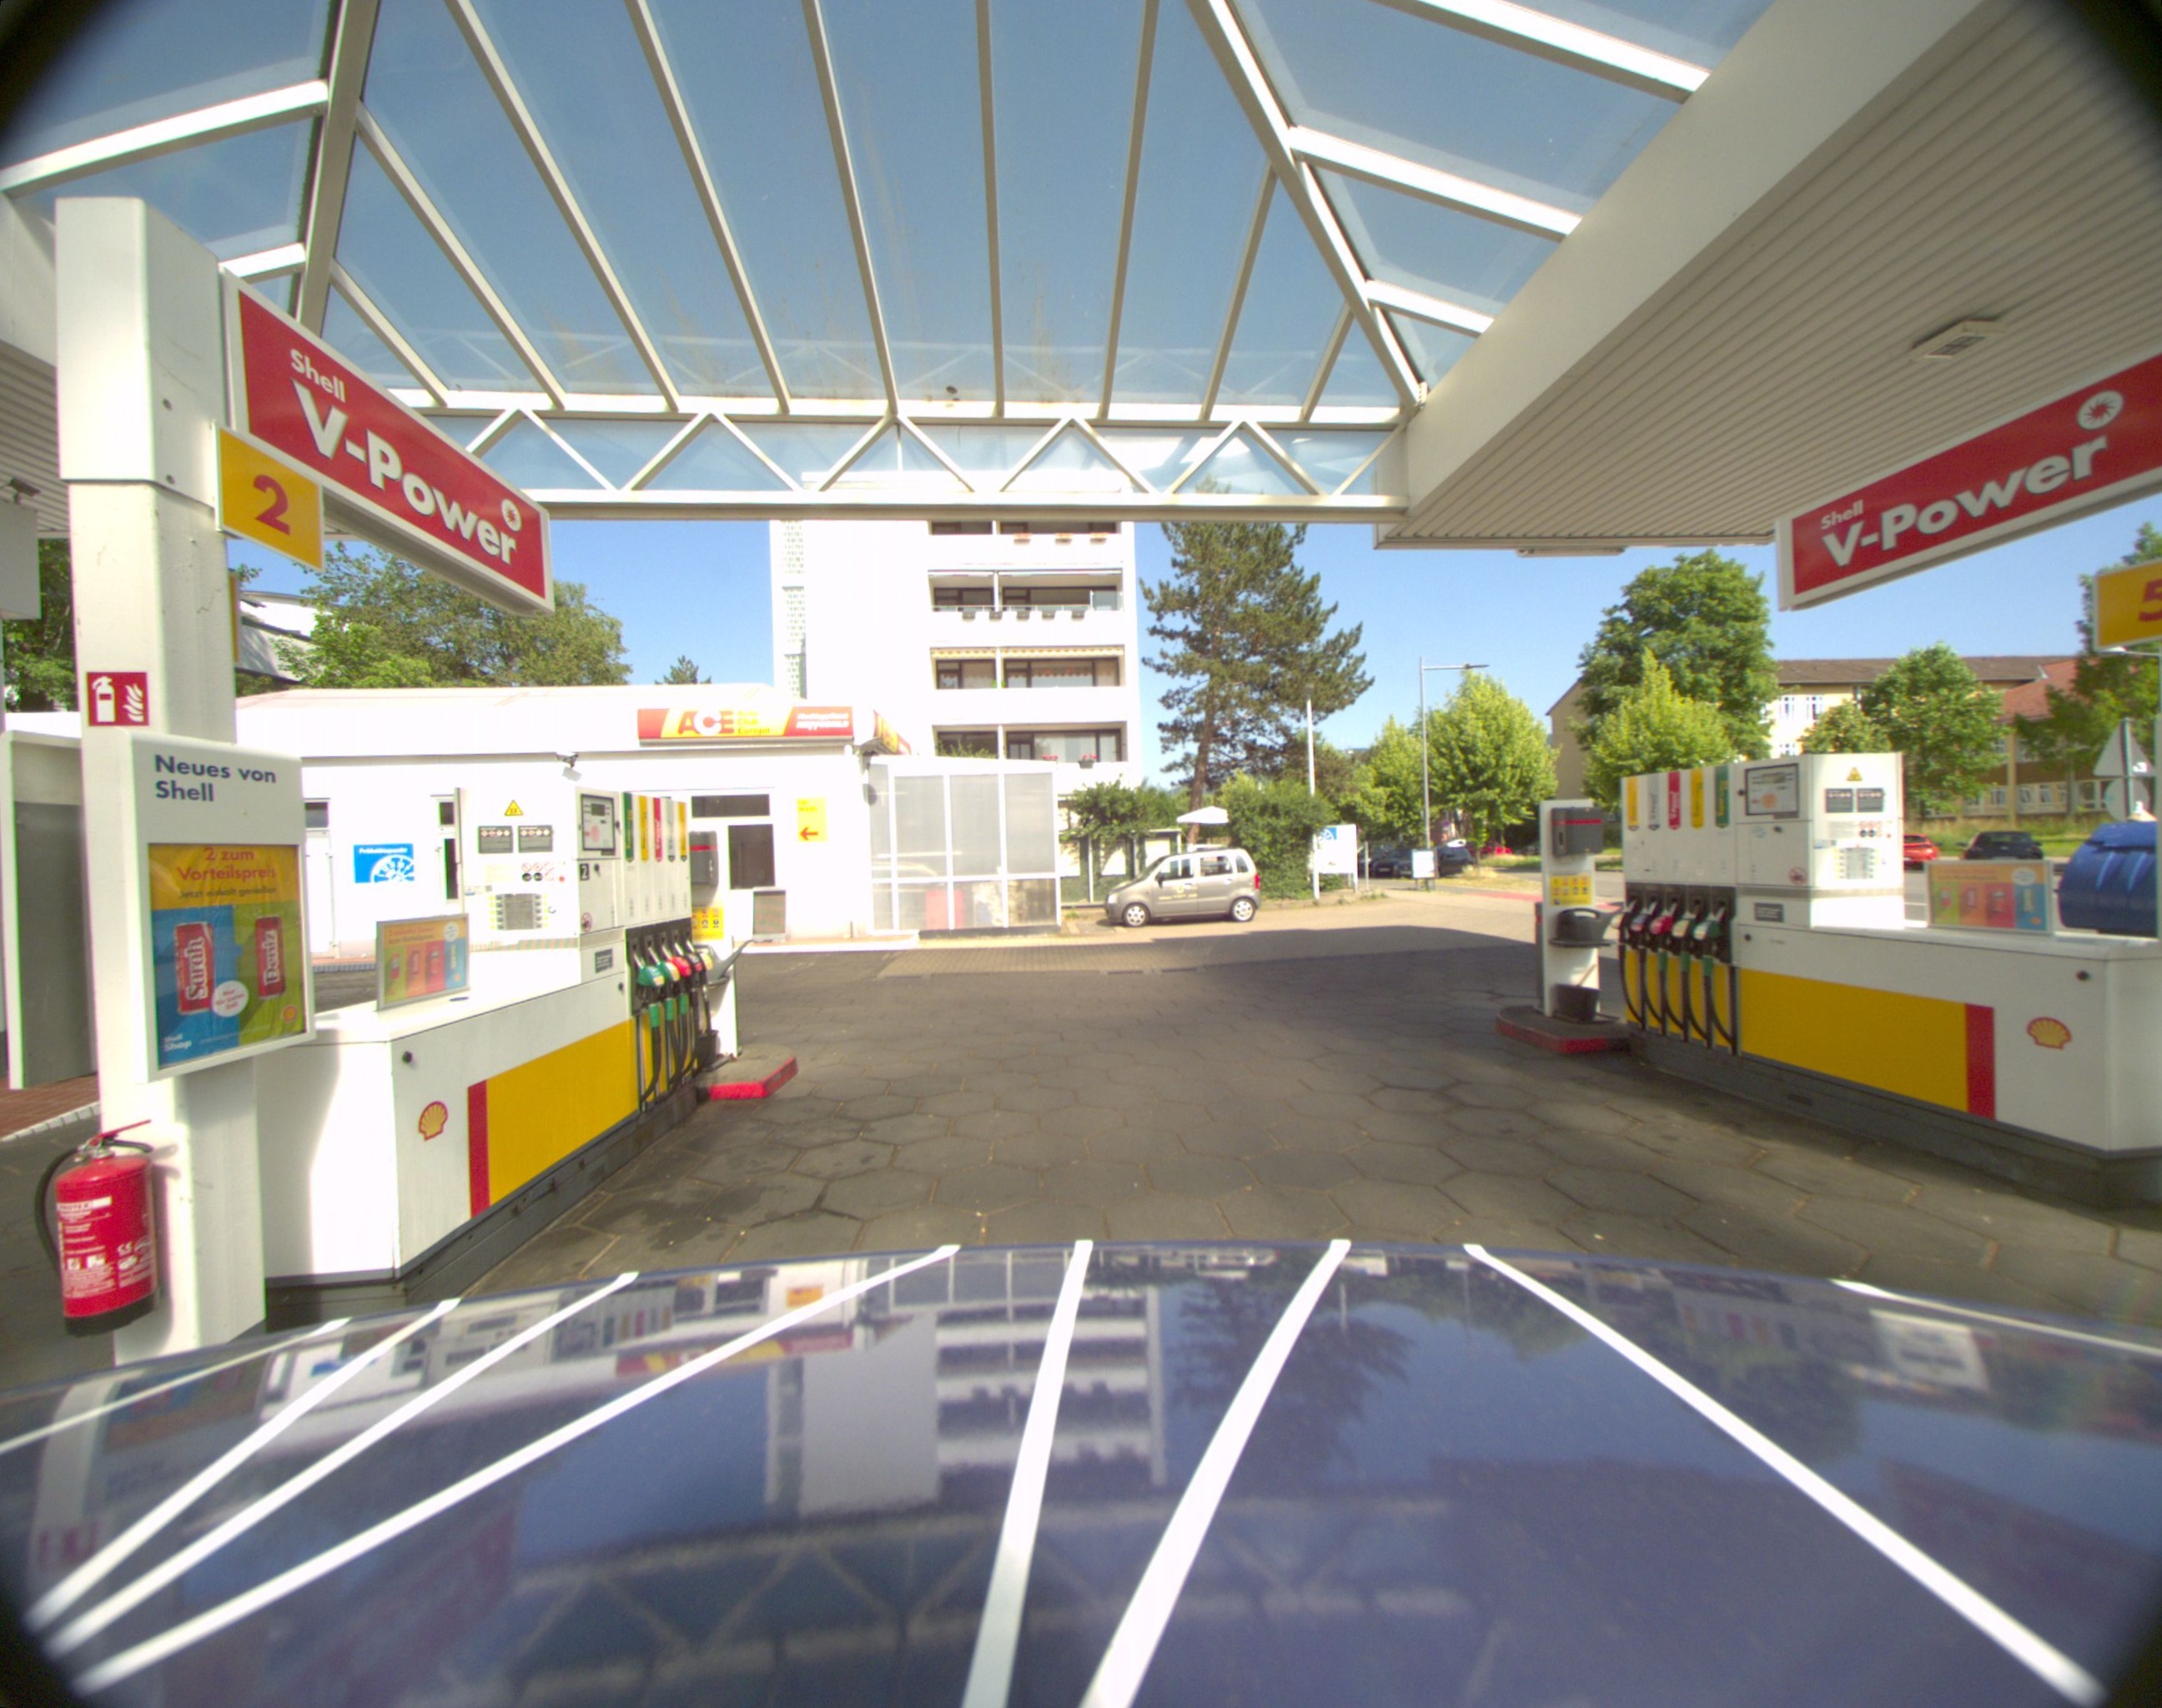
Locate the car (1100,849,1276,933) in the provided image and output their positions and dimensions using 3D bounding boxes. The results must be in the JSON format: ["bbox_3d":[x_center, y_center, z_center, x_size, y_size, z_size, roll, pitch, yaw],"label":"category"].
[{"bbox_3d":[2.362,0.804,17.346,3.660,1.608,1.692,-3,1,-2],"label":"car"}]

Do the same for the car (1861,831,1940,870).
[{"bbox_3d":[32.336,-0.168,29.943,4.234,1.451,1.876,-1,2,-40],"label":"car"}]

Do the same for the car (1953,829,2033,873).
[{"bbox_3d":[32.517,-0.126,27.120,4.234,1.451,1.737,-1,1,-40],"label":"car"}]

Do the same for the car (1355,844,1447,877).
[{"bbox_3d":[15.197,0.274,36.012,4.233,1.473,1.877,-1,1,-31],"label":"car"}]

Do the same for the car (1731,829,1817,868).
[{"bbox_3d":[31.838,-0.285,34.896,4.233,1.712,1.876,-1,1,-33],"label":"car"}]

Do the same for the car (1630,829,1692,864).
[{"bbox_3d":[30.394,-0.399,39.797,4.234,1.712,1.876,-1,1,-43],"label":"car"}]

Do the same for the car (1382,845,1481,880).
[{"bbox_3d":[15.375,0.337,33.313,4.233,1.409,1.877,0,1,-31],"label":"car"}]

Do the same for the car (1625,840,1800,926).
[{"bbox_3d":[14.686,0.593,17.626,4.314,1.696,1.957,-2,0,-34],"label":"car"}]

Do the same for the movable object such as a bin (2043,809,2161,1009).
[{"bbox_3d":[9.753,0.464,6.493,1.342,1.678,1.336,0,1,-3],"label":"movable object such as a bin"}]

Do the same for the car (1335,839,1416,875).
[{"bbox_3d":[14.968,0.122,38.564,4.411,1.710,1.700,-1,1,-36],"label":"car"}]

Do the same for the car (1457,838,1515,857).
[{"bbox_3d":[30.171,-0.500,56.648,3.731,1.383,1.877,0,1,-22],"label":"car"}]
